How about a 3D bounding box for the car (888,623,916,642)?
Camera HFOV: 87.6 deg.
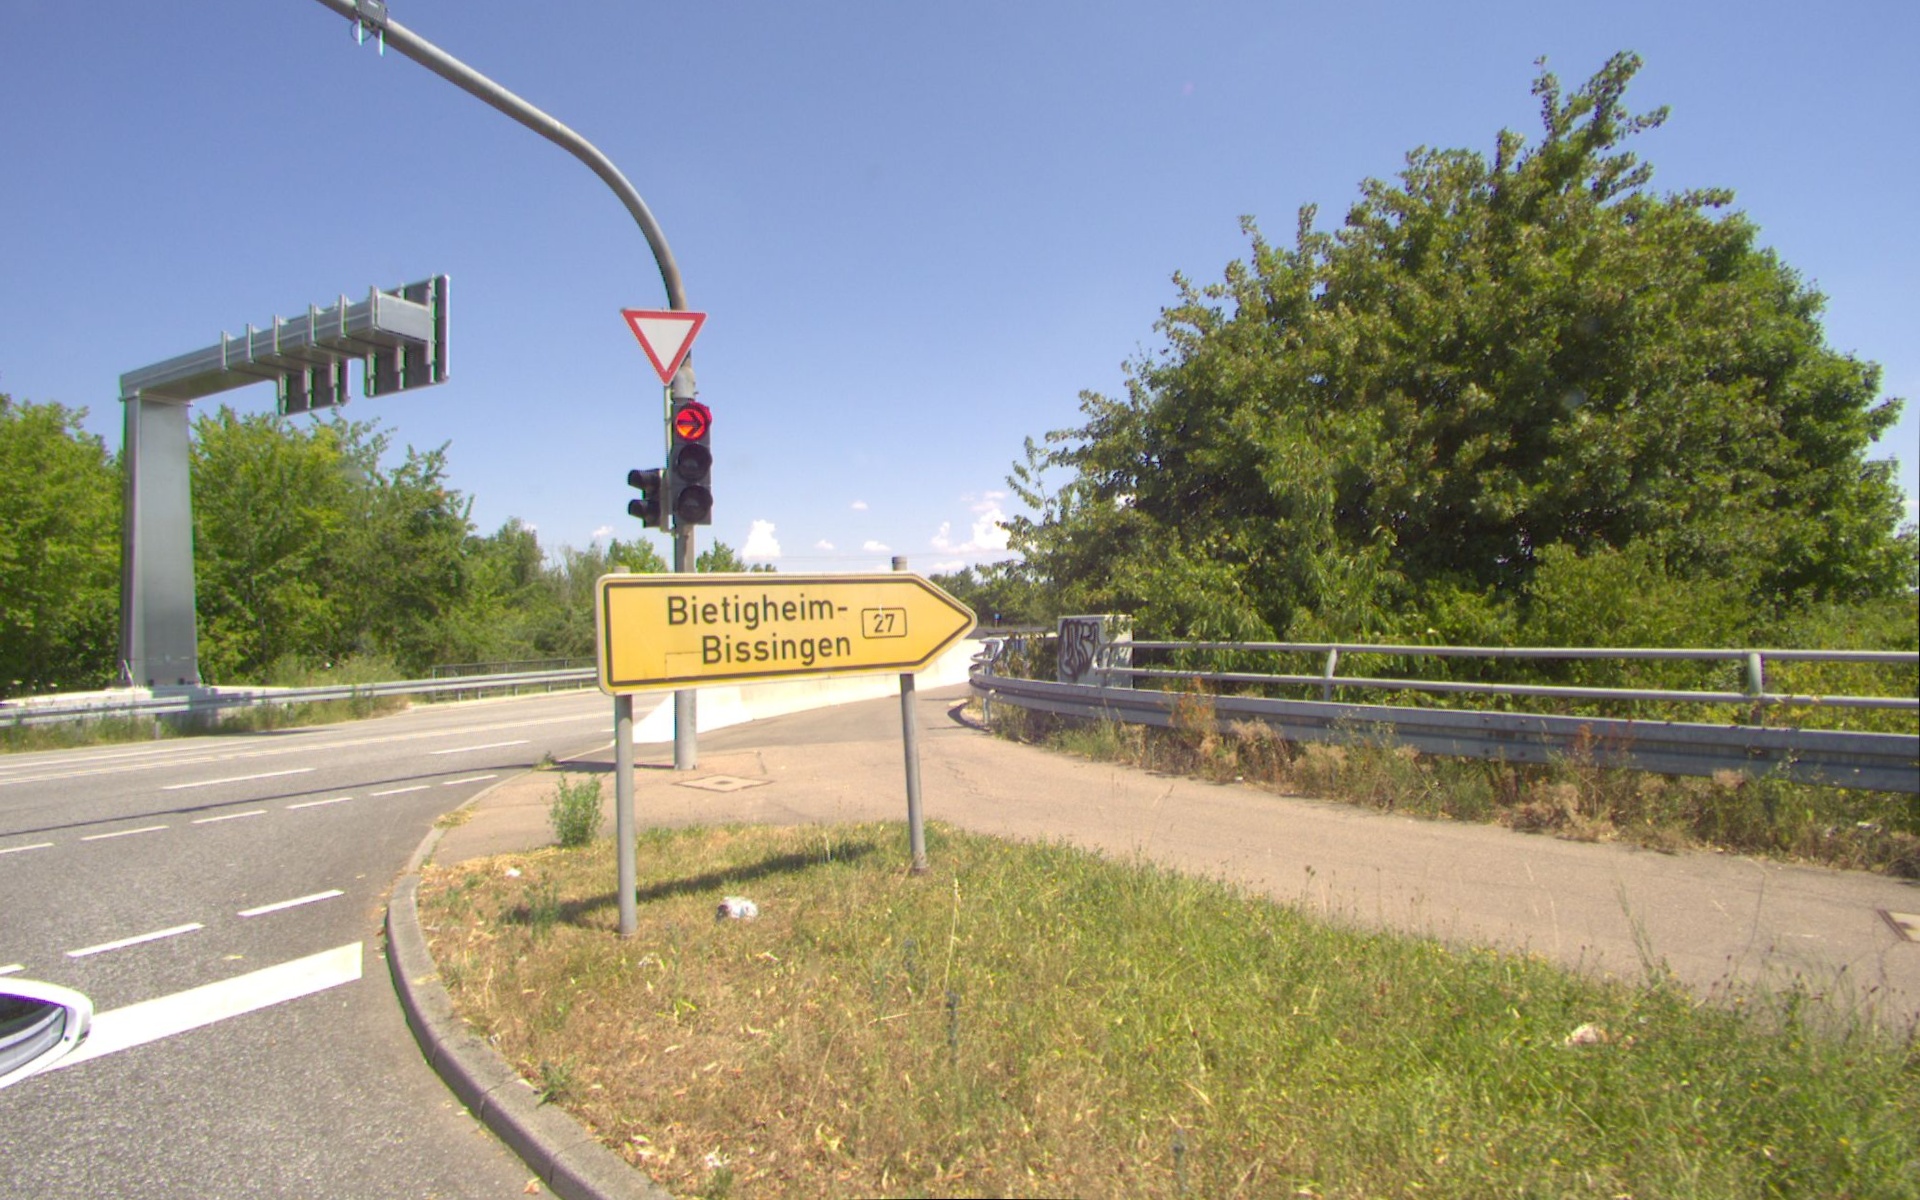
[{"bbox_3d":[-5.585,3.138,95.750,1.870,1.653,4.272,-3,-1,-14],"label":"car"}]
